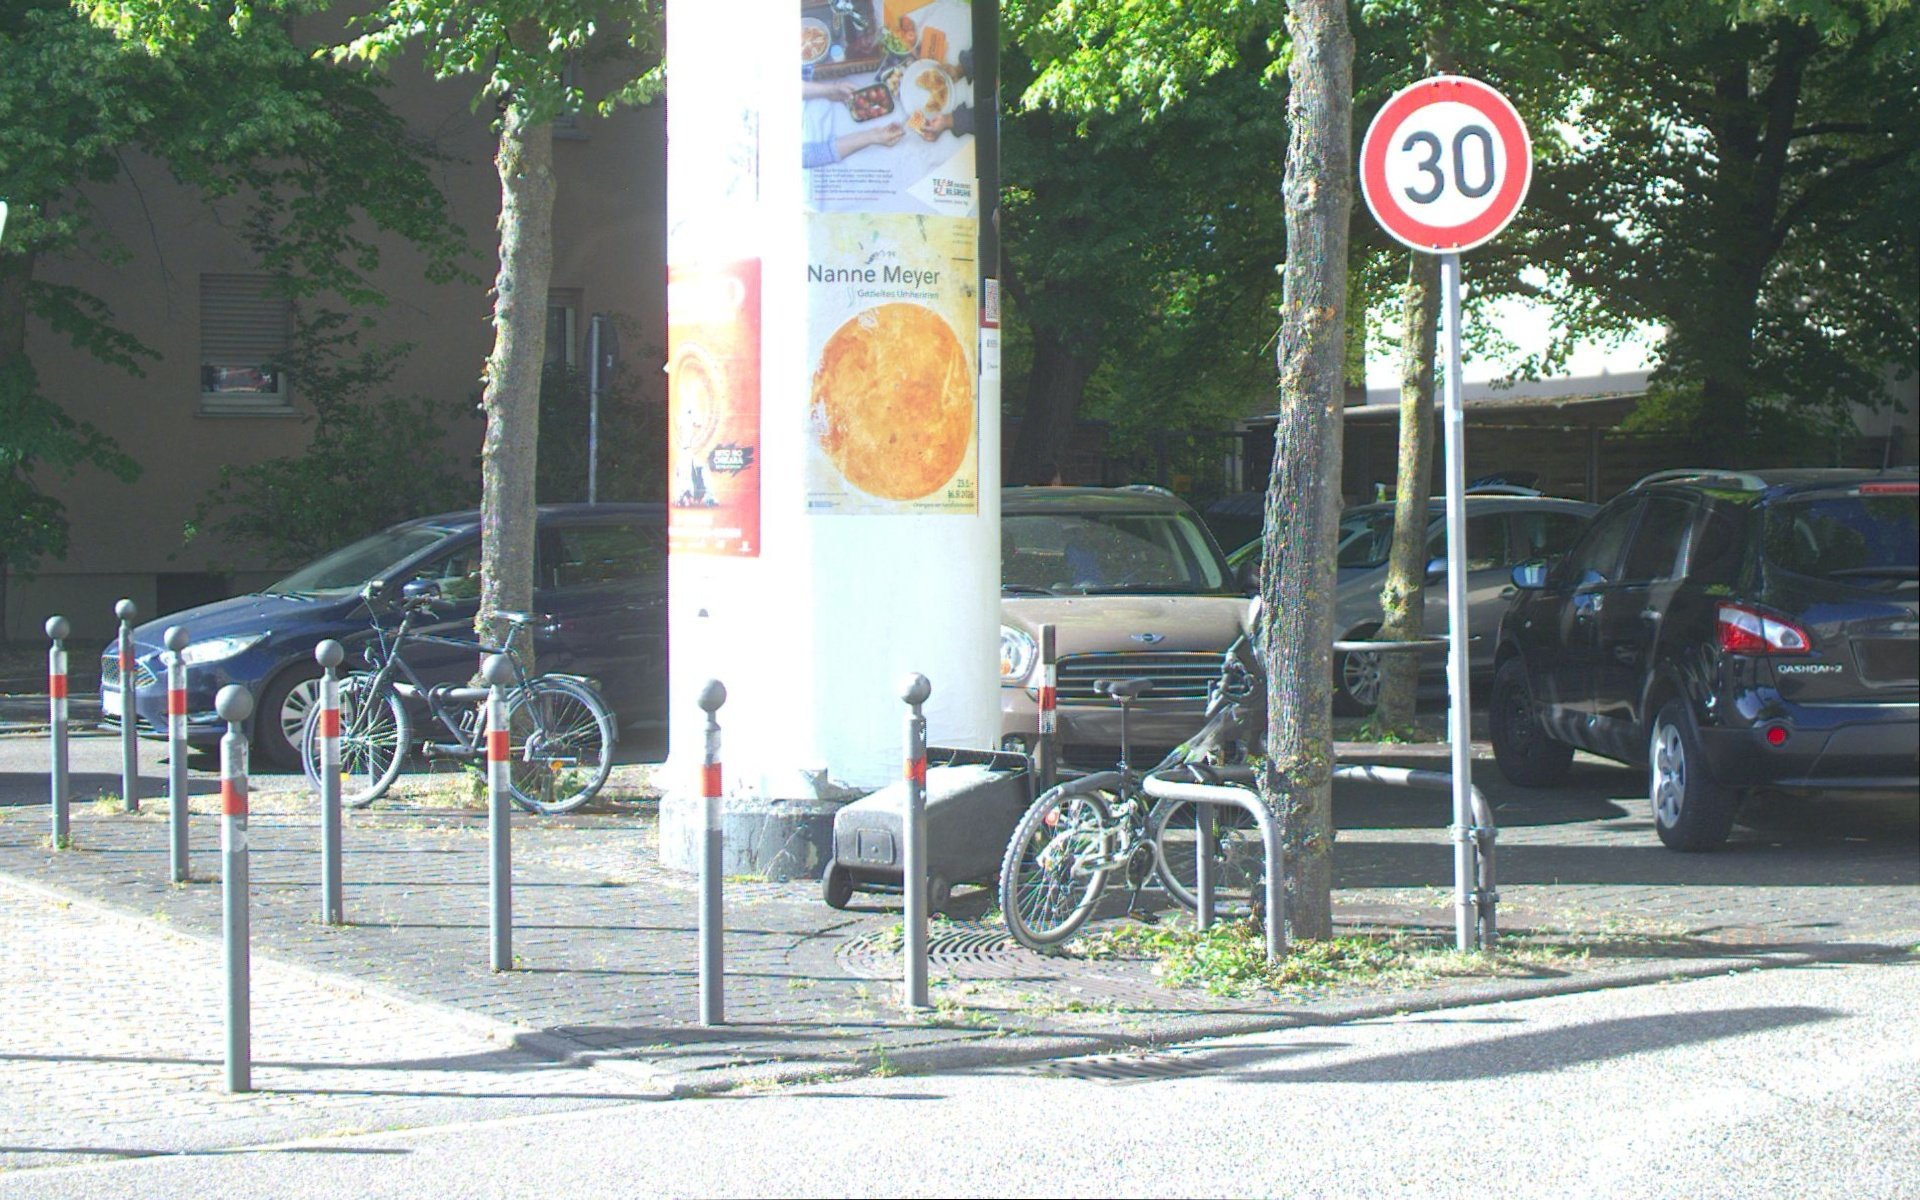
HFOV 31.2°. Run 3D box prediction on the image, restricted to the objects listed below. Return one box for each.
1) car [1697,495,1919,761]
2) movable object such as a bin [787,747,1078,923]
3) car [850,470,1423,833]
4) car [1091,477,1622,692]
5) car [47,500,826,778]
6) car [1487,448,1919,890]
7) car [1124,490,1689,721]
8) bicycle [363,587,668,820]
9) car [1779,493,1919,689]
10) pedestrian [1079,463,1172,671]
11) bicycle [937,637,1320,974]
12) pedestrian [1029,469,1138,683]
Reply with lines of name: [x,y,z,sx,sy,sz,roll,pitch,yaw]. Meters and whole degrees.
car: [5.844,0.107,19.807,1.815,1.417,3.950,-1,2,-9]
movable object such as a bin: [-0.095,0.894,13.305,0.577,0.563,1.111,1,2,36]
car: [0.755,0.182,17.535,1.916,1.605,4.001,-1,1,-12]
car: [3.295,-0.180,28.207,4.233,1.634,1.759,-2,2,-35]
car: [-3.155,0.164,21.008,4.286,1.513,1.909,-1,2,-33]
car: [3.811,0.180,15.866,1.831,1.665,4.338,0,4,-4]
car: [3.203,-0.023,24.275,3.938,1.481,1.759,-2,2,-40]
bicycle: [-2.183,0.492,17.025,1.588,1.068,0.353,-2,2,-44]
car: [8.553,-0.124,27.812,3.938,1.481,1.759,-2,2,-40]
pedestrian: [1.397,-0.284,29.069,0.740,1.729,0.540,-1,1,0]
bicycle: [0.618,0.693,12.138,1.588,1.068,0.353,-2,2,-44]
pedestrian: [1.012,-0.204,28.275,0.538,1.729,0.742,-2,2,-37]
